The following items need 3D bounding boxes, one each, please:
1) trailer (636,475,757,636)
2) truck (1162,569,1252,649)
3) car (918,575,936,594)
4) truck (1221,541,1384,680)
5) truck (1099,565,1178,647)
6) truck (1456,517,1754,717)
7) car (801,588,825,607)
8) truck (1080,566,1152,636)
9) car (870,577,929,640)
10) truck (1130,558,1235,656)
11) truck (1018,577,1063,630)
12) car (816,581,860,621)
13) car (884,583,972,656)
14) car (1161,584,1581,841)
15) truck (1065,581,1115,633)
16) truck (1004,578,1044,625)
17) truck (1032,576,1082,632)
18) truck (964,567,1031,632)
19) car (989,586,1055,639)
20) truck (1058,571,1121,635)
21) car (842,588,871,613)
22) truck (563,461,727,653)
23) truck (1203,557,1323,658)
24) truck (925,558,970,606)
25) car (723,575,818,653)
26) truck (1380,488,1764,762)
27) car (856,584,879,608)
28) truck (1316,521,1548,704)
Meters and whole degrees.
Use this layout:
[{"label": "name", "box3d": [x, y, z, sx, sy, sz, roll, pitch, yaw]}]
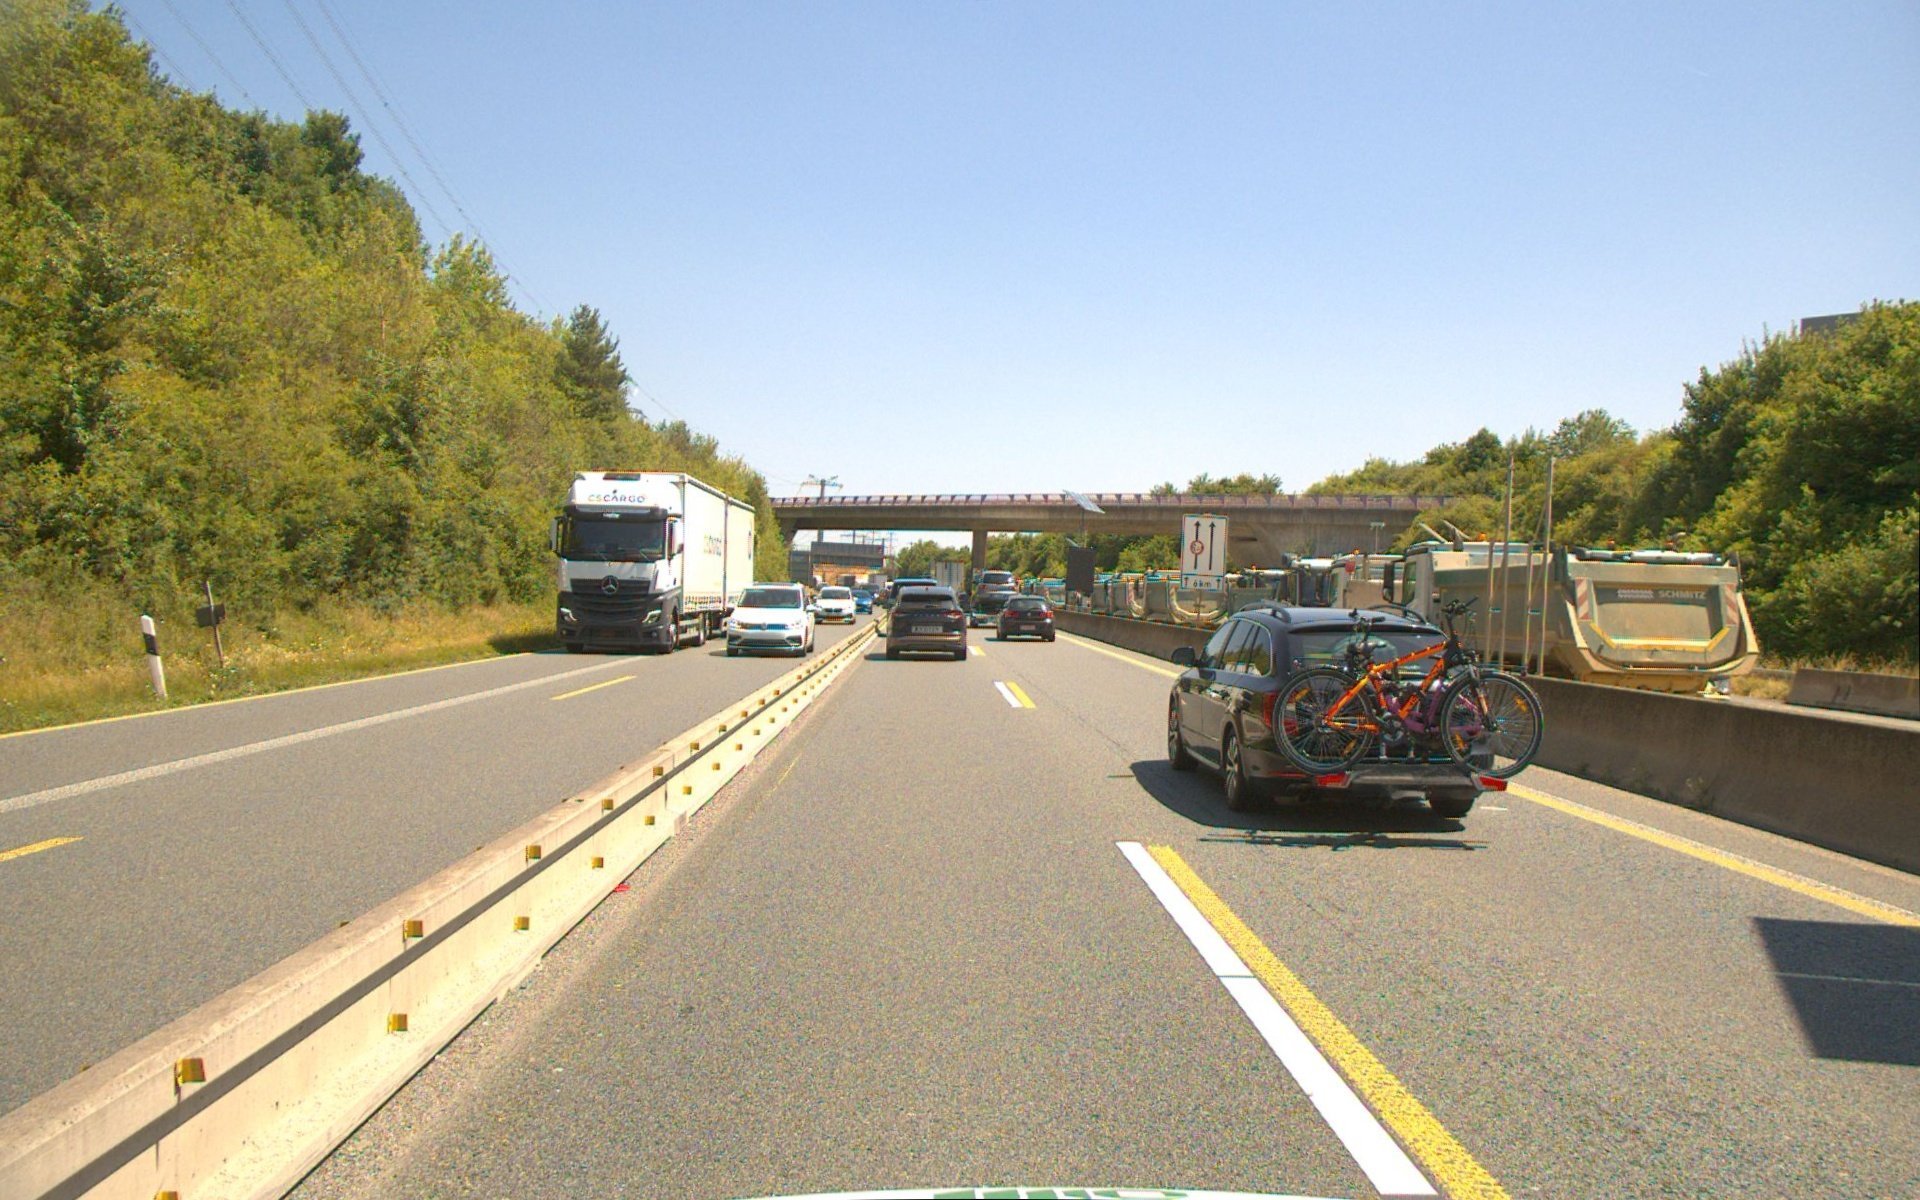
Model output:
[{"label": "trailer", "box3d": [-7.857, -1.269, 50.377, 2.585, 4.388, 8.443, 2, 0, -3]}, {"label": "truck", "box3d": [11.408, 0.373, 77.290, 2.632, 3.437, 9.601, 1, 0, -1]}, {"label": "car", "box3d": [-3.531, -1.677, 177.219, 1.860, 2.003, 4.275, 1, 0, -1]}, {"label": "truck", "box3d": [9.827, 0.258, 48.584, 2.487, 3.619, 9.599, 1, 0, -2]}, {"label": "truck", "box3d": [8.452, 0.249, 79.357, 2.632, 3.619, 9.405, 1, 0, -1]}, {"label": "truck", "box3d": [12.994, 0.284, 34.282, 2.633, 3.572, 8.377, 1, 0, -2]}, {"label": "car", "box3d": [-12.909, -0.231, 145.152, 1.757, 1.552, 4.530, 1, 0, -1]}, {"label": "truck", "box3d": [8.450, 0.015, 90.656, 2.633, 3.619, 9.321, 1, 0, -3]}, {"label": "car", "box3d": [-1.990, 0.283, 55.791, 1.860, 2.003, 4.275, 1, 0, -1]}, {"label": "truck", "box3d": [8.860, 0.222, 66.916, 2.633, 3.619, 9.600, 1, 0, -2]}, {"label": "truck", "box3d": [6.226, 0.219, 129.677, 2.633, 3.923, 9.321, 1, 0, -2]}, {"label": "car", "box3d": [-5.358, 0.056, 72.818, 1.727, 1.660, 4.295, 1, 0, -2]}, {"label": "car", "box3d": [-0.715, 0.418, 37.875, 1.860, 1.531, 4.275, 1, 0, -1]}, {"label": "car", "box3d": [2.798, 0.686, 12.506, 1.860, 1.516, 4.946, 1, 0, -1]}, {"label": "truck", "box3d": [9.831, 0.478, 126.280, 2.633, 3.792, 9.321, 1, 0, -3]}, {"label": "truck", "box3d": [5.467, 0.104, 142.330, 2.633, 3.910, 9.321, 1, 0, -2]}, {"label": "truck", "box3d": [6.876, 0.238, 118.346, 2.633, 3.826, 9.321, 1, 0, -2]}, {"label": "truck", "box3d": [1.553, -0.070, 72.201, 2.357, 2.603, 7.496, 1, 1, -3]}, {"label": "car", "box3d": [1.962, 0.384, 53.232, 1.861, 1.613, 4.275, 1, 0, -1]}, {"label": "truck", "box3d": [7.715, 0.136, 99.683, 2.633, 3.619, 9.321, 1, 0, -3]}, {"label": "car", "box3d": [-6.363, 0.021, 102.304, 1.678, 1.450, 4.168, 1, 0, -2]}, {"label": "truck", "box3d": [-7.541, -0.959, 40.970, 2.361, 4.061, 10.347, 2, 0, -2]}, {"label": "truck", "box3d": [11.763, 0.253, 65.070, 2.633, 3.619, 9.599, 1, 0, -2]}, {"label": "truck", "box3d": [-1.111, -1.569, 142.488, 3.227, 3.912, 10.102, 1, 0, -4]}, {"label": "car", "box3d": [-4.295, 0.307, 38.047, 1.788, 1.659, 4.149, 1, 0, -2]}, {"label": "truck", "box3d": [9.266, 0.302, 26.447, 2.482, 3.572, 9.093, 1, 0, -2]}, {"label": "car", "box3d": [-8.326, -0.358, 149.081, 1.852, 2.049, 4.817, 1, 0, -1]}, {"label": "truck", "box3d": [10.281, 0.222, 37.108, 2.481, 3.572, 8.943, 1, 0, -1]}]
